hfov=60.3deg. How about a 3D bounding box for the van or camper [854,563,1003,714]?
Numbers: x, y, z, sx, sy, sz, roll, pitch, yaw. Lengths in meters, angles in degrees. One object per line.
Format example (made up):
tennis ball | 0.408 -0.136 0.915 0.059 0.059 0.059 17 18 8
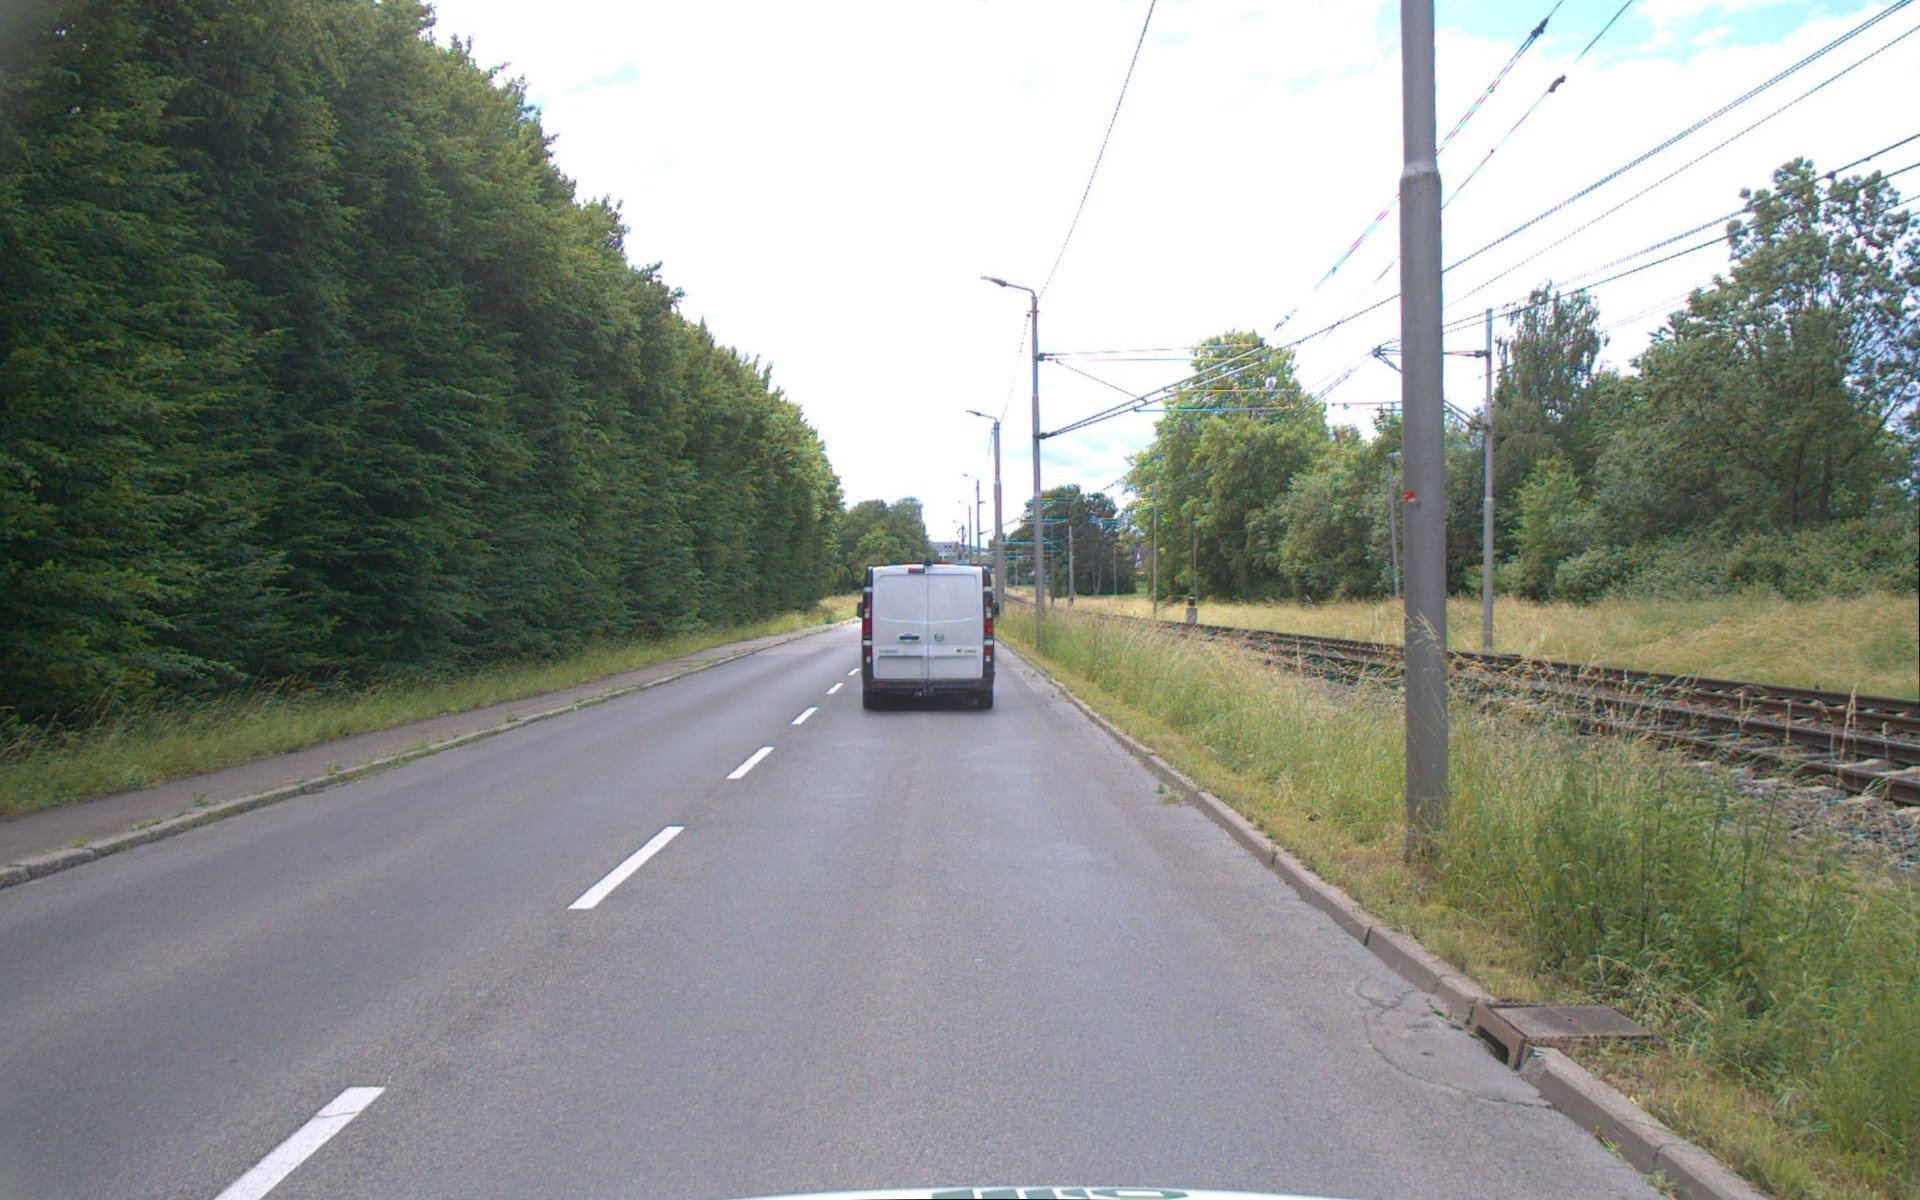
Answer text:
van or camper | -0.457 0.493 23.958 1.903 1.930 4.284 2 0 -1
